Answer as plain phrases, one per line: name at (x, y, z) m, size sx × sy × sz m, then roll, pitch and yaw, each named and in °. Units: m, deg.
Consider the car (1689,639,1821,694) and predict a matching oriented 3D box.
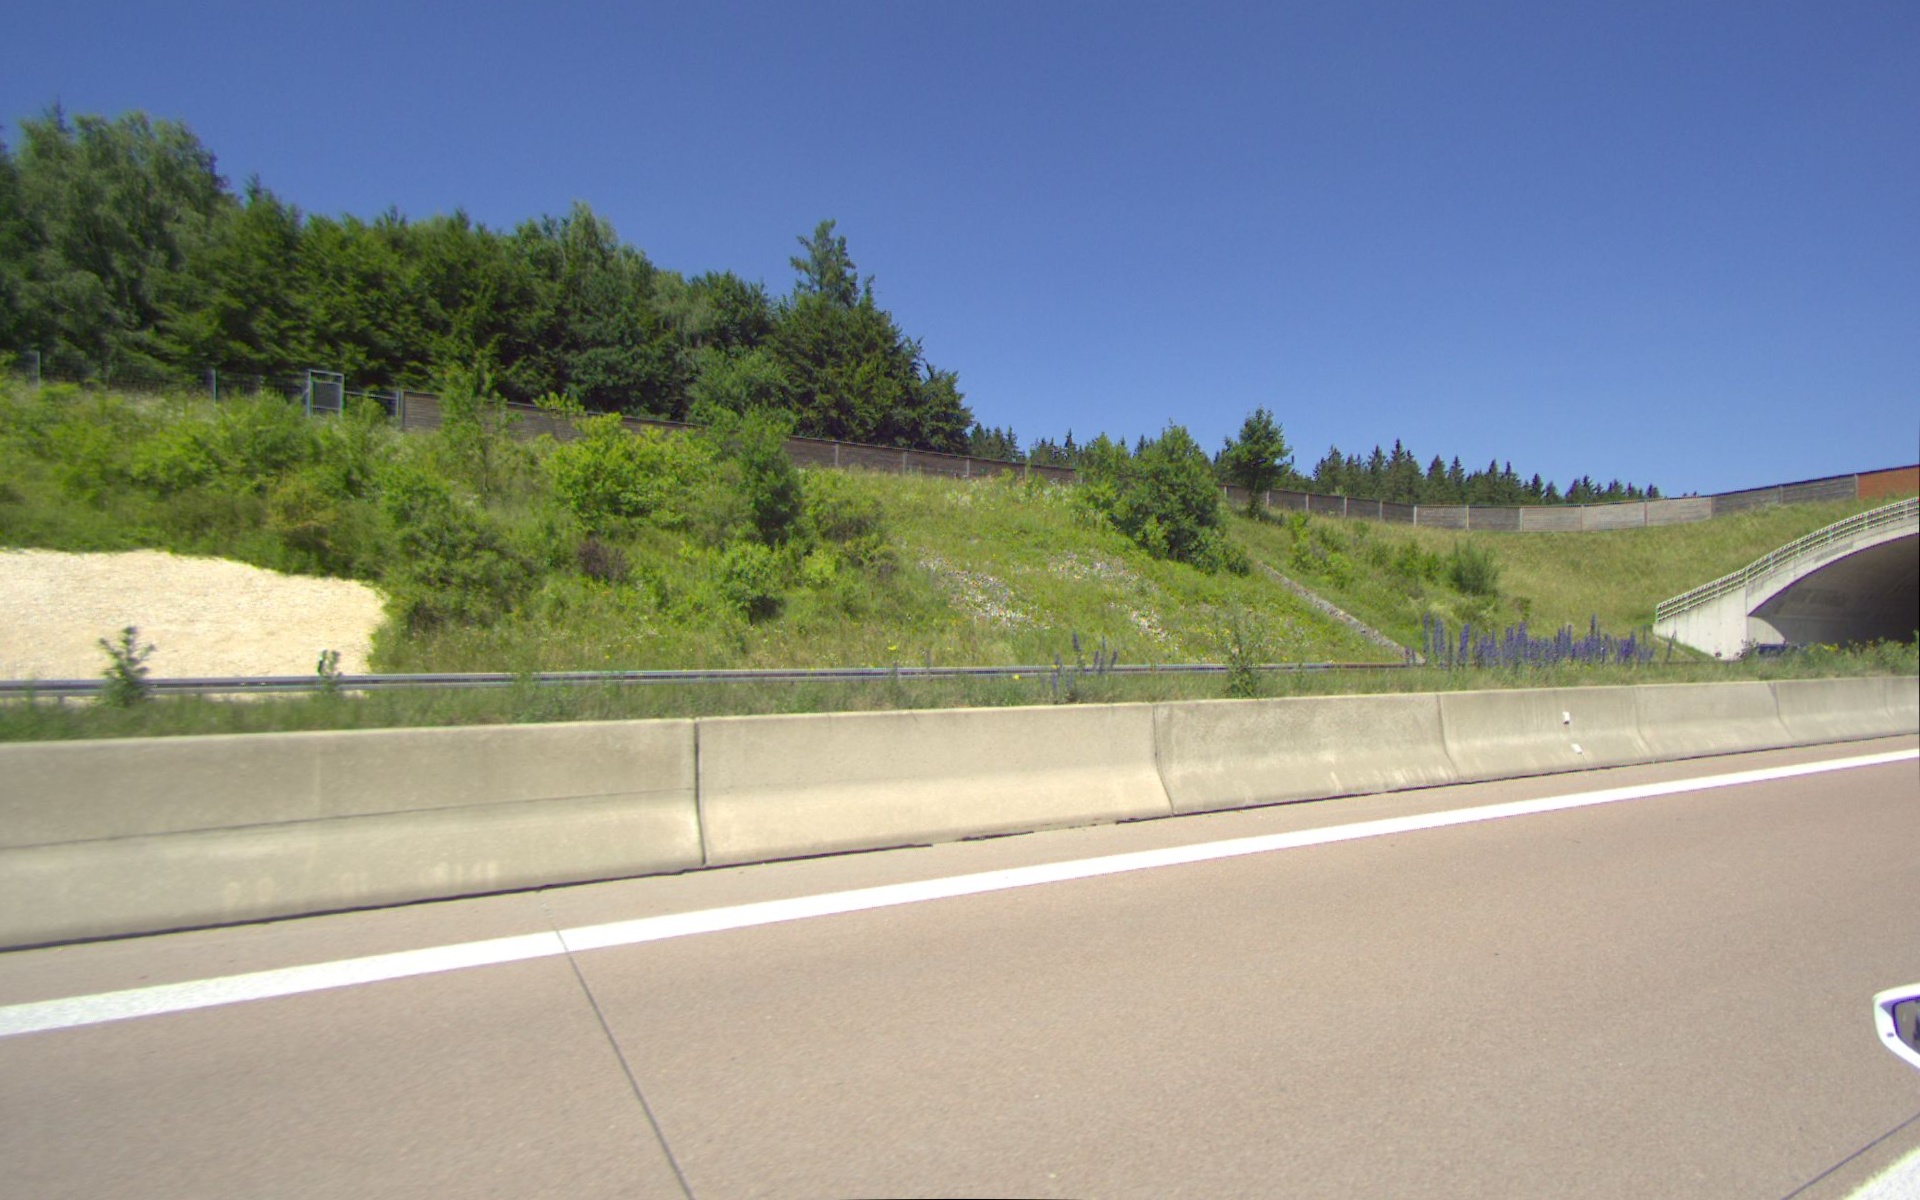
car at (27.215, 2.209, 34.358) m, size 4.919 × 1.615 × 1.882 m, roll 0°, pitch 0°, yaw -30°
